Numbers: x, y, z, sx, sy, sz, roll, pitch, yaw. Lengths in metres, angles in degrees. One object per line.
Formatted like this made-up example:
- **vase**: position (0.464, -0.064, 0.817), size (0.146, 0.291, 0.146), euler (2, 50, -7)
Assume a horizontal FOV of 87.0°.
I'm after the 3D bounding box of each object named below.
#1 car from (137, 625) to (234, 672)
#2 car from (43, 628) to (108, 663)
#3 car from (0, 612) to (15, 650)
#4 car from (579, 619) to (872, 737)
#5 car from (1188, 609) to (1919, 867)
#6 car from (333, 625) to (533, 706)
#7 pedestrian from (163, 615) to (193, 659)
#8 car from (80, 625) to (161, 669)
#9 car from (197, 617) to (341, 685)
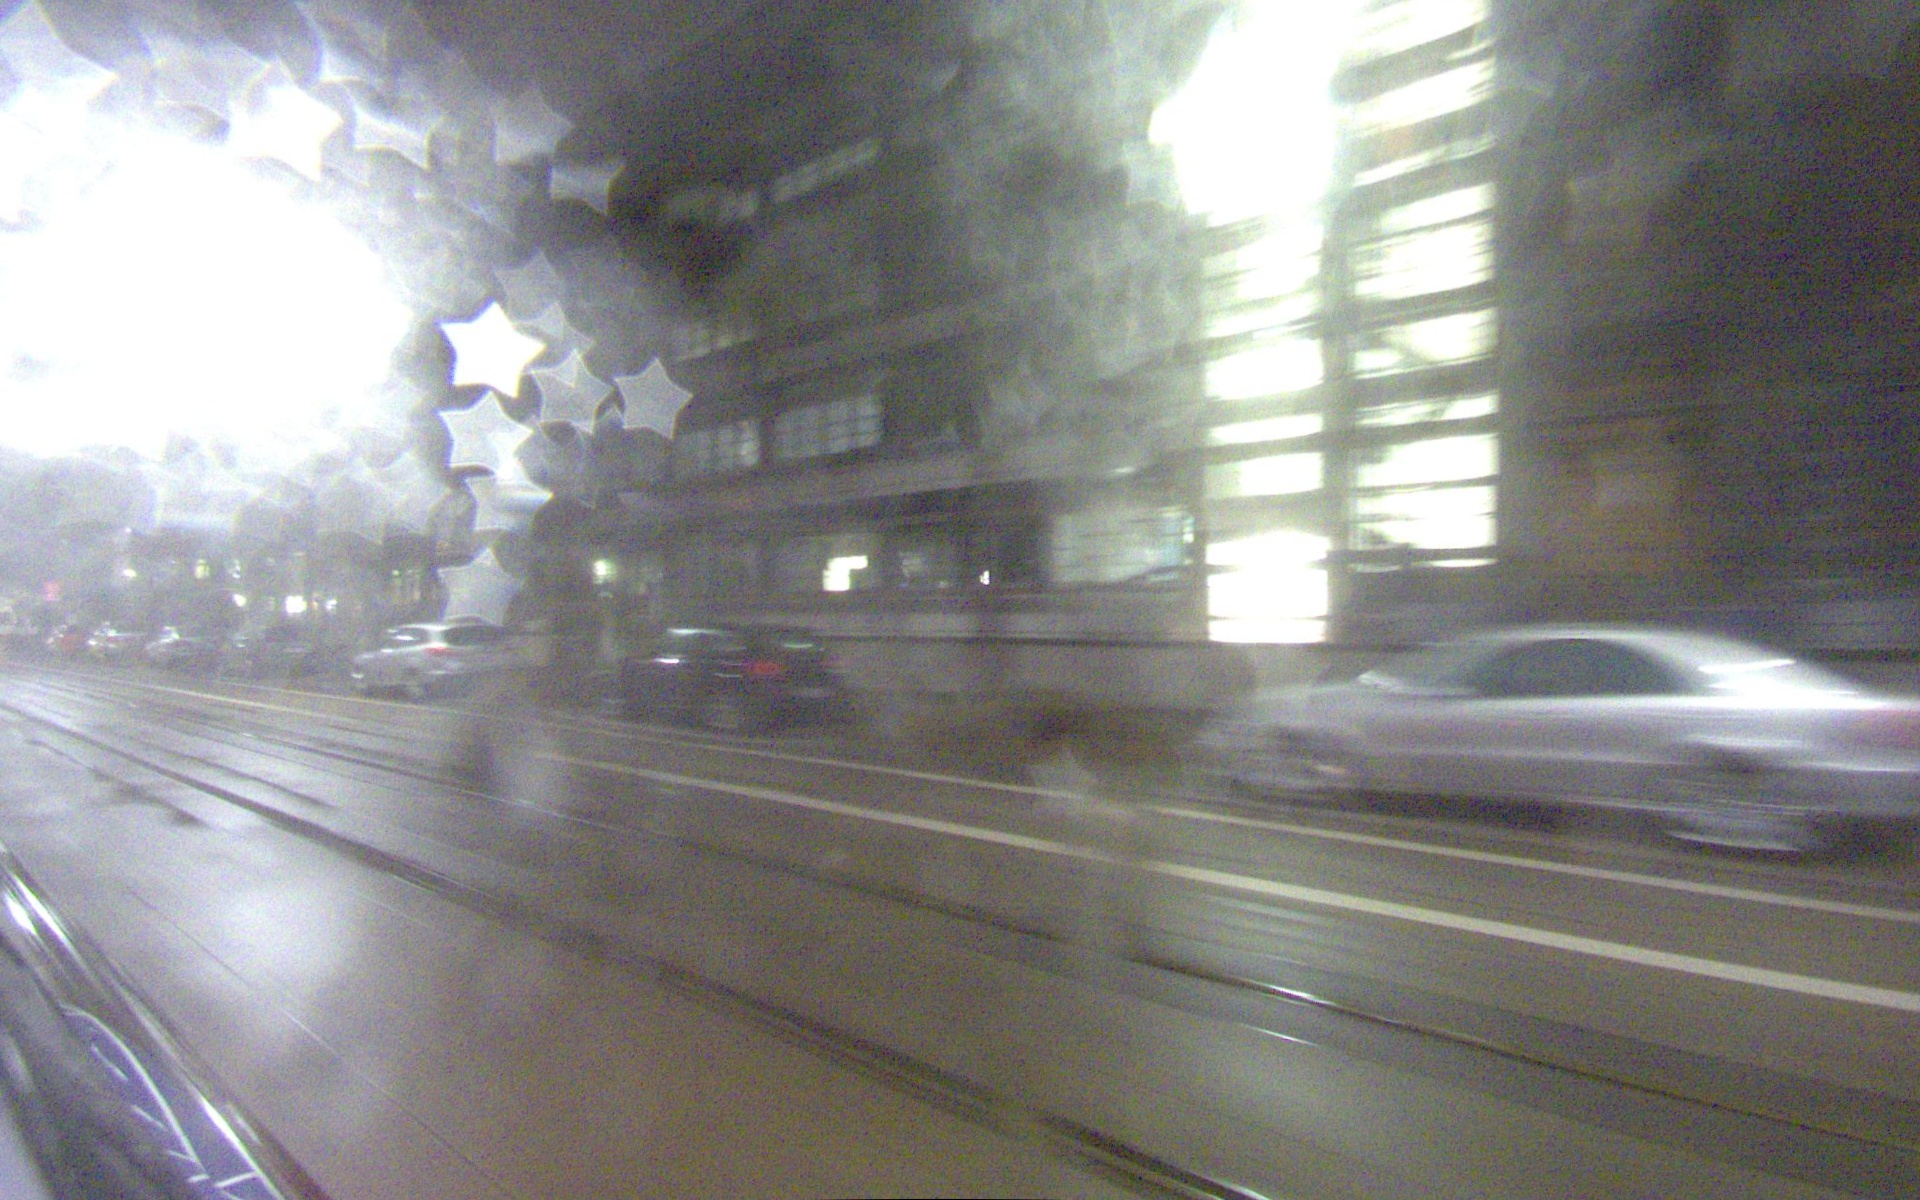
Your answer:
- **car**: position (-26.121, 1.581, 34.088), size (4.623, 1.449, 1.713), euler (-1, -1, 41)
- **car**: position (-40.919, 2.070, 46.815), size (3.947, 1.467, 1.701), euler (-1, -1, 40)
- **car**: position (-66.251, 2.129, 68.744), size (5.253, 2.527, 2.221), euler (-1, 1, 38)
- **car**: position (-3.402, 1.000, 14.350), size (4.203, 1.434, 1.822), euler (-1, -2, 38)
- **car**: position (4.442, 0.836, 7.749), size (4.950, 1.474, 1.871), euler (-1, -2, 36)
- **car**: position (-10.640, 1.226, 20.307), size (4.600, 1.451, 1.756), euler (-1, -2, 37)
- **pedestrian**: position (-34.141, 1.601, 44.179), size (1.290, 1.916, 0.784), euler (-1, -1, 41)
- **car**: position (-34.175, 1.883, 41.149), size (4.350, 1.590, 1.791), euler (-2, 1, 41)
- **car**: position (-19.170, 1.341, 28.001), size (4.586, 1.631, 2.122), euler (-1, 1, 40)
